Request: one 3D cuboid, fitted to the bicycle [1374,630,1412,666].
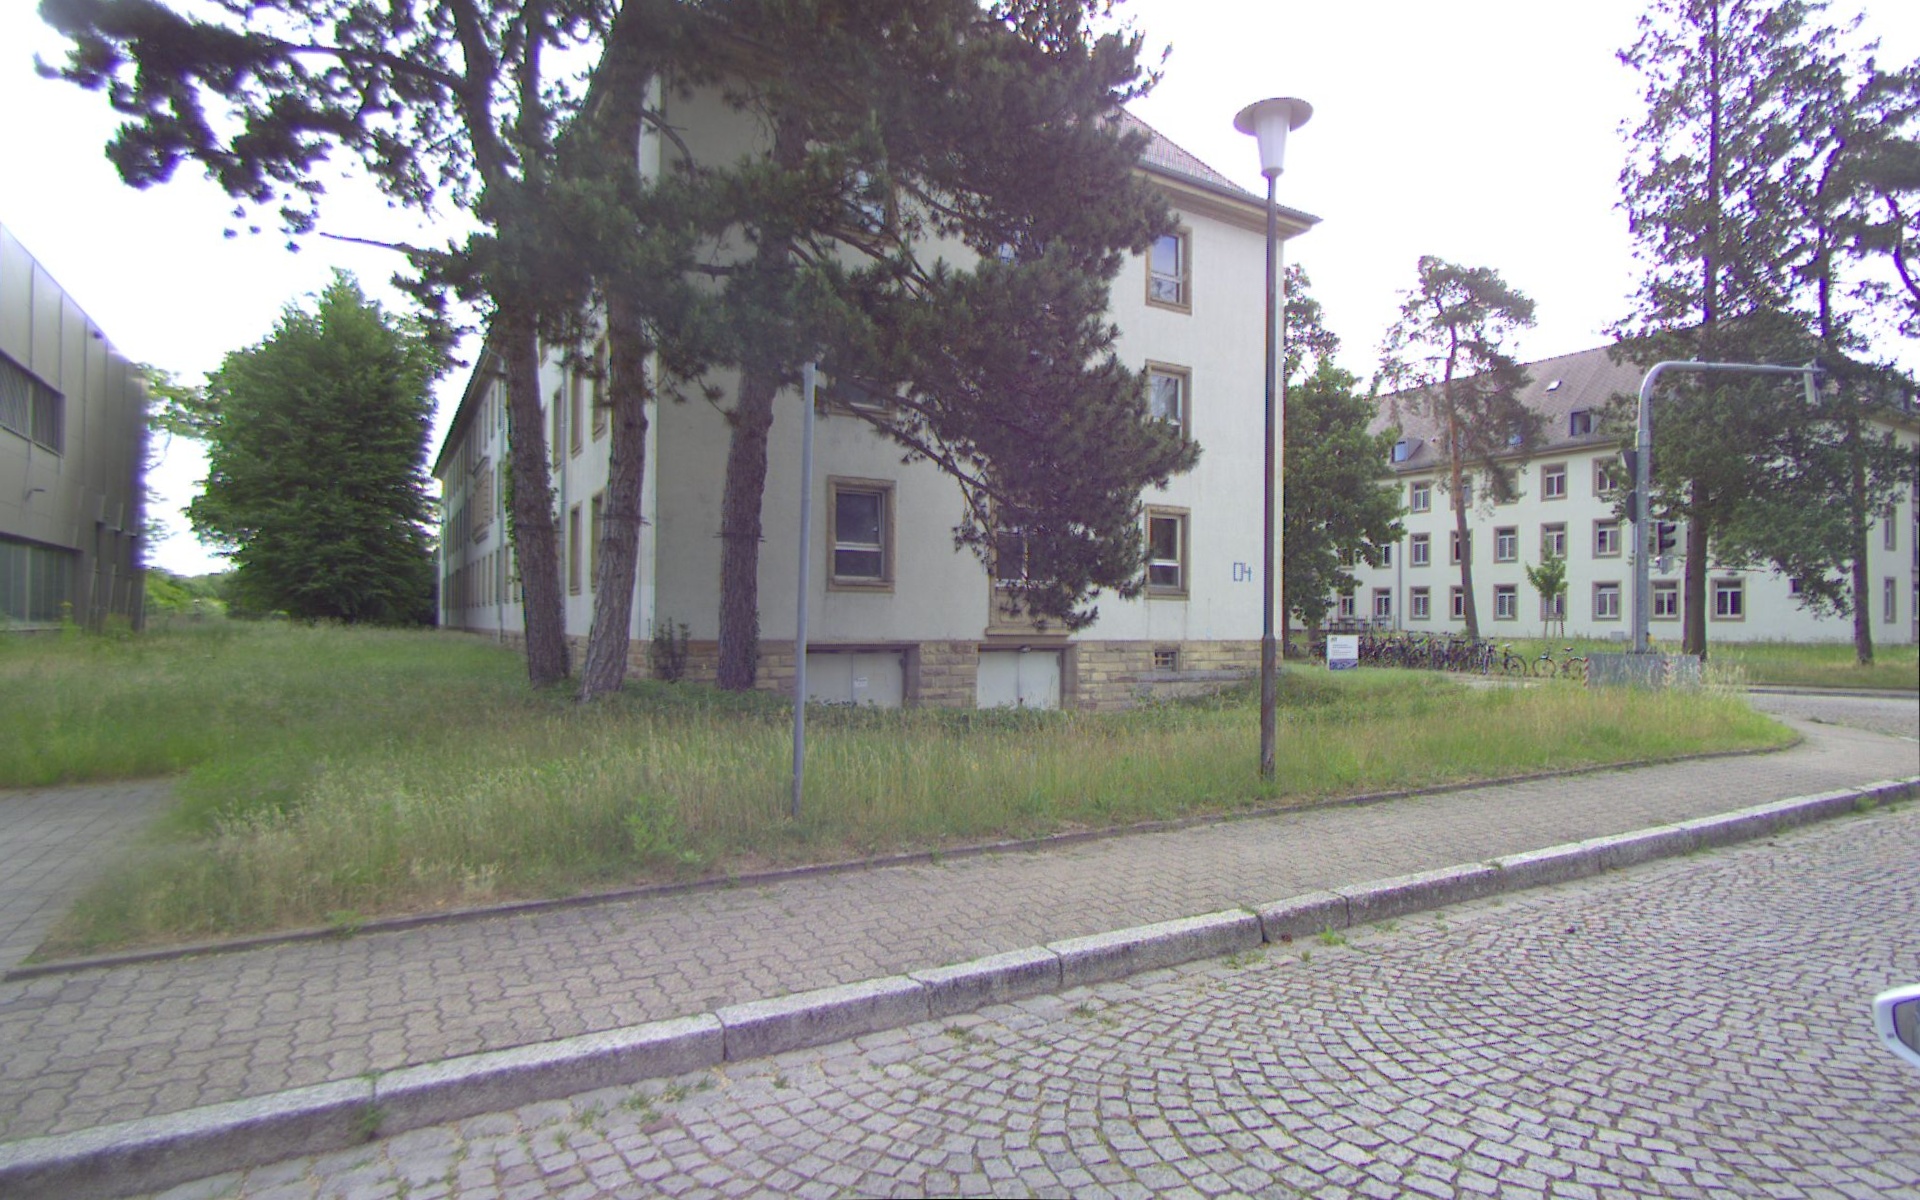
[{"bbox_3d":[16.002,1.773,37.136,1.677,1.300,0.446,1,-1,-33],"label":"bicycle"}]

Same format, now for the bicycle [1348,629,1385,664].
[{"bbox_3d":[15.399,1.763,38.027,1.677,1.300,0.446,1,-1,-33],"label":"bicycle"}]

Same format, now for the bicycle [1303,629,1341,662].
[{"bbox_3d":[14.361,1.803,39.832,1.808,1.300,0.446,1,-1,-33],"label":"bicycle"}]

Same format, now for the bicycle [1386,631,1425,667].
[{"bbox_3d":[16.294,1.777,36.725,1.677,1.300,0.446,1,-1,-33],"label":"bicycle"}]

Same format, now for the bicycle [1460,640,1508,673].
[{"bbox_3d":[17.828,1.904,34.167,1.975,1.092,0.571,1,-1,-33],"label":"bicycle"}]

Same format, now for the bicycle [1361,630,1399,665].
[{"bbox_3d":[15.704,1.768,37.556,1.677,1.300,0.446,1,-1,-33],"label":"bicycle"}]

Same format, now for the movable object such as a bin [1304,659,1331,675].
[{"bbox_3d":[12.130,2.267,34.086,0.440,0.510,0.746,1,-2,-31],"label":"movable object such as a bin"}]

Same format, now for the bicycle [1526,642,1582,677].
[{"bbox_3d":[18.177,1.809,30.781,0.447,1.009,1.453,1,-2,-29],"label":"bicycle"}]

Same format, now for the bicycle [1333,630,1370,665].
[{"bbox_3d":[15.038,1.811,38.584,1.677,1.300,0.446,1,-1,-33],"label":"bicycle"}]

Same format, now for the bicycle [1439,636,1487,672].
[{"bbox_3d":[17.395,1.845,34.713,1.933,1.193,0.571,1,-1,-33],"label":"bicycle"}]

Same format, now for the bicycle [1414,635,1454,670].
[{"bbox_3d":[16.830,1.850,35.650,1.677,1.193,0.446,1,-1,-33],"label":"bicycle"}]

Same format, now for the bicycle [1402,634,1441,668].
[{"bbox_3d":[16.566,1.833,36.056,1.677,1.193,0.446,1,-1,-33],"label":"bicycle"}]

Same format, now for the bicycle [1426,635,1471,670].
[{"bbox_3d":[17.138,1.842,35.239,1.909,1.193,0.524,1,-1,-33],"label":"bicycle"}]

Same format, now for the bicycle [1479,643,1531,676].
[{"bbox_3d":[17.382,1.891,32.080,0.447,1.009,1.453,1,-2,-29],"label":"bicycle"}]

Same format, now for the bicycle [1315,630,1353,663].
[{"bbox_3d":[14.707,1.825,39.503,1.766,1.300,0.440,1,-1,-33],"label":"bicycle"}]
